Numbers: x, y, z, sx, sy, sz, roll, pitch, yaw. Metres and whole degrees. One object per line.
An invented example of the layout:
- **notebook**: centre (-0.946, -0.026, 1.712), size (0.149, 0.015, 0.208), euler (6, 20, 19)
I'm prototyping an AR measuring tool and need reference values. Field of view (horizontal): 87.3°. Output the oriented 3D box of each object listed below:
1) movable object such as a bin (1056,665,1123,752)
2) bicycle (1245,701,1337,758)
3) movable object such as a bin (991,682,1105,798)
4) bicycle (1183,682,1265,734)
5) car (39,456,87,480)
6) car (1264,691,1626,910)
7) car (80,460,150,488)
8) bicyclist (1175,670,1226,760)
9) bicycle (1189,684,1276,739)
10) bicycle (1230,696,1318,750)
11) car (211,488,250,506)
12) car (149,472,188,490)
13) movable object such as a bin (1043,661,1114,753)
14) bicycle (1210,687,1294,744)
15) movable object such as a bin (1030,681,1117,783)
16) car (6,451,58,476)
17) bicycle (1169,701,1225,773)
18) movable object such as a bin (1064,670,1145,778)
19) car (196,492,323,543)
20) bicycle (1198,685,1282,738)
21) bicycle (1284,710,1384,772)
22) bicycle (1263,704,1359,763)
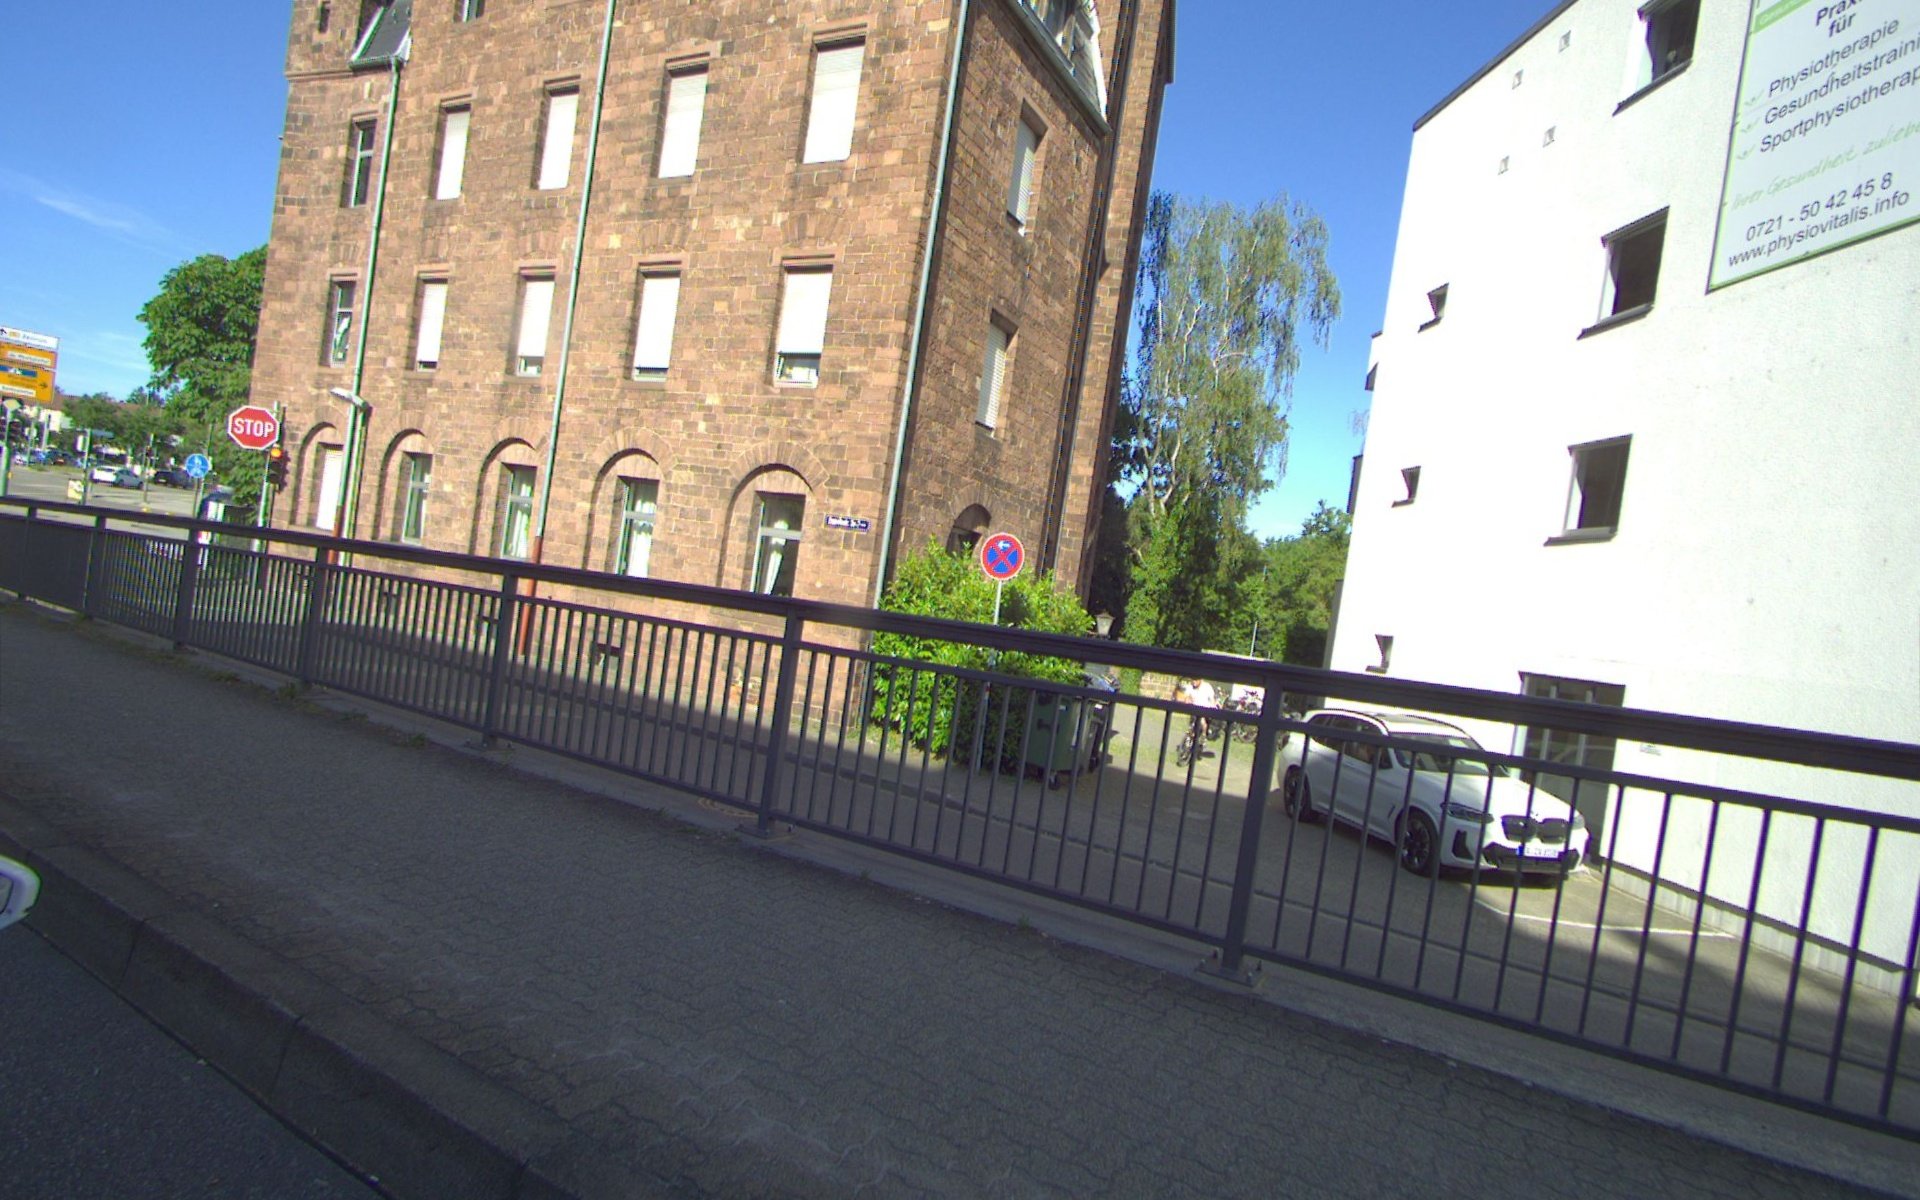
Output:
- **movable object such as a bin**: centre (2.648, 2.185, 20.451), size (1.009, 1.539, 1.007), euler (9, 0, 14)
- **bicycle**: centre (7.976, 3.115, 24.245), size (1.889, 1.065, 0.664), euler (8, 1, -6)
- **movable object such as a bin**: centre (1.194, 1.854, 13.511), size (1.011, 1.307, 1.005), euler (10, 0, 29)
- **bicycle**: centre (7.666, 3.137, 29.258), size (2.075, 1.174, 0.664), euler (8, 1, -9)
- **car**: centre (-82.312, -12.095, 92.340), size (1.860, 1.598, 3.978), euler (8, 1, -22)
- **car**: centre (5.967, 2.406, 13.164), size (1.814, 1.707, 4.521), euler (8, 0, -9)
- **car**: centre (-63.135, -9.387, 75.277), size (1.967, 1.382, 4.304), euler (8, 1, -9)
- **bicyclist**: centre (4.718, 2.237, 19.703), size (0.675, 1.627, 0.697), euler (9, 0, 20)
- **bicycle**: centre (7.408, 3.028, 27.373), size (2.075, 1.174, 0.664), euler (8, 1, -9)
- **bicycle**: centre (7.871, 3.083, 25.273), size (1.889, 1.065, 0.664), euler (8, 1, -6)
- **car**: centre (-72.191, -10.176, 99.627), size (1.975, 1.311, 4.565), euler (8, 2, -23)
- **car**: centre (-74.867, -11.240, 95.203), size (1.864, 1.311, 4.560), euler (8, 2, -27)
- **movable object such as a bin**: centre (2.287, 2.019, 19.262), size (1.009, 1.539, 1.007), euler (9, 0, 14)
- **bicycle**: centre (7.670, 3.026, 26.440), size (1.889, 1.174, 0.664), euler (8, 1, -6)
- **movable object such as a bin**: centre (1.762, 2.001, 15.474), size (1.009, 1.307, 1.007), euler (10, 0, 14)
- **car**: centre (-79.894, -11.731, 86.638), size (1.860, 1.598, 3.978), euler (8, 1, -22)
- **bicycle**: centre (4.677, 2.663, 19.780), size (0.677, 1.155, 1.838), euler (9, 1, 21)
- **movable object such as a bin**: centre (2.403, 2.018, 16.655), size (1.009, 1.539, 1.007), euler (9, 0, 14)
- **car**: centre (-32.556, -3.814, 46.919), size (4.341, 1.611, 1.913), euler (9, 1, -19)
- **bicycle**: centre (7.910, 3.136, 28.405), size (2.075, 1.174, 0.664), euler (8, 1, -9)
- **bicycle**: centre (8.336, 3.140, 22.443), size (1.889, 1.065, 0.664), euler (8, 1, -6)
- **bicycle**: centre (8.131, 3.095, 23.357), size (1.889, 1.065, 0.664), euler (8, 1, -6)
